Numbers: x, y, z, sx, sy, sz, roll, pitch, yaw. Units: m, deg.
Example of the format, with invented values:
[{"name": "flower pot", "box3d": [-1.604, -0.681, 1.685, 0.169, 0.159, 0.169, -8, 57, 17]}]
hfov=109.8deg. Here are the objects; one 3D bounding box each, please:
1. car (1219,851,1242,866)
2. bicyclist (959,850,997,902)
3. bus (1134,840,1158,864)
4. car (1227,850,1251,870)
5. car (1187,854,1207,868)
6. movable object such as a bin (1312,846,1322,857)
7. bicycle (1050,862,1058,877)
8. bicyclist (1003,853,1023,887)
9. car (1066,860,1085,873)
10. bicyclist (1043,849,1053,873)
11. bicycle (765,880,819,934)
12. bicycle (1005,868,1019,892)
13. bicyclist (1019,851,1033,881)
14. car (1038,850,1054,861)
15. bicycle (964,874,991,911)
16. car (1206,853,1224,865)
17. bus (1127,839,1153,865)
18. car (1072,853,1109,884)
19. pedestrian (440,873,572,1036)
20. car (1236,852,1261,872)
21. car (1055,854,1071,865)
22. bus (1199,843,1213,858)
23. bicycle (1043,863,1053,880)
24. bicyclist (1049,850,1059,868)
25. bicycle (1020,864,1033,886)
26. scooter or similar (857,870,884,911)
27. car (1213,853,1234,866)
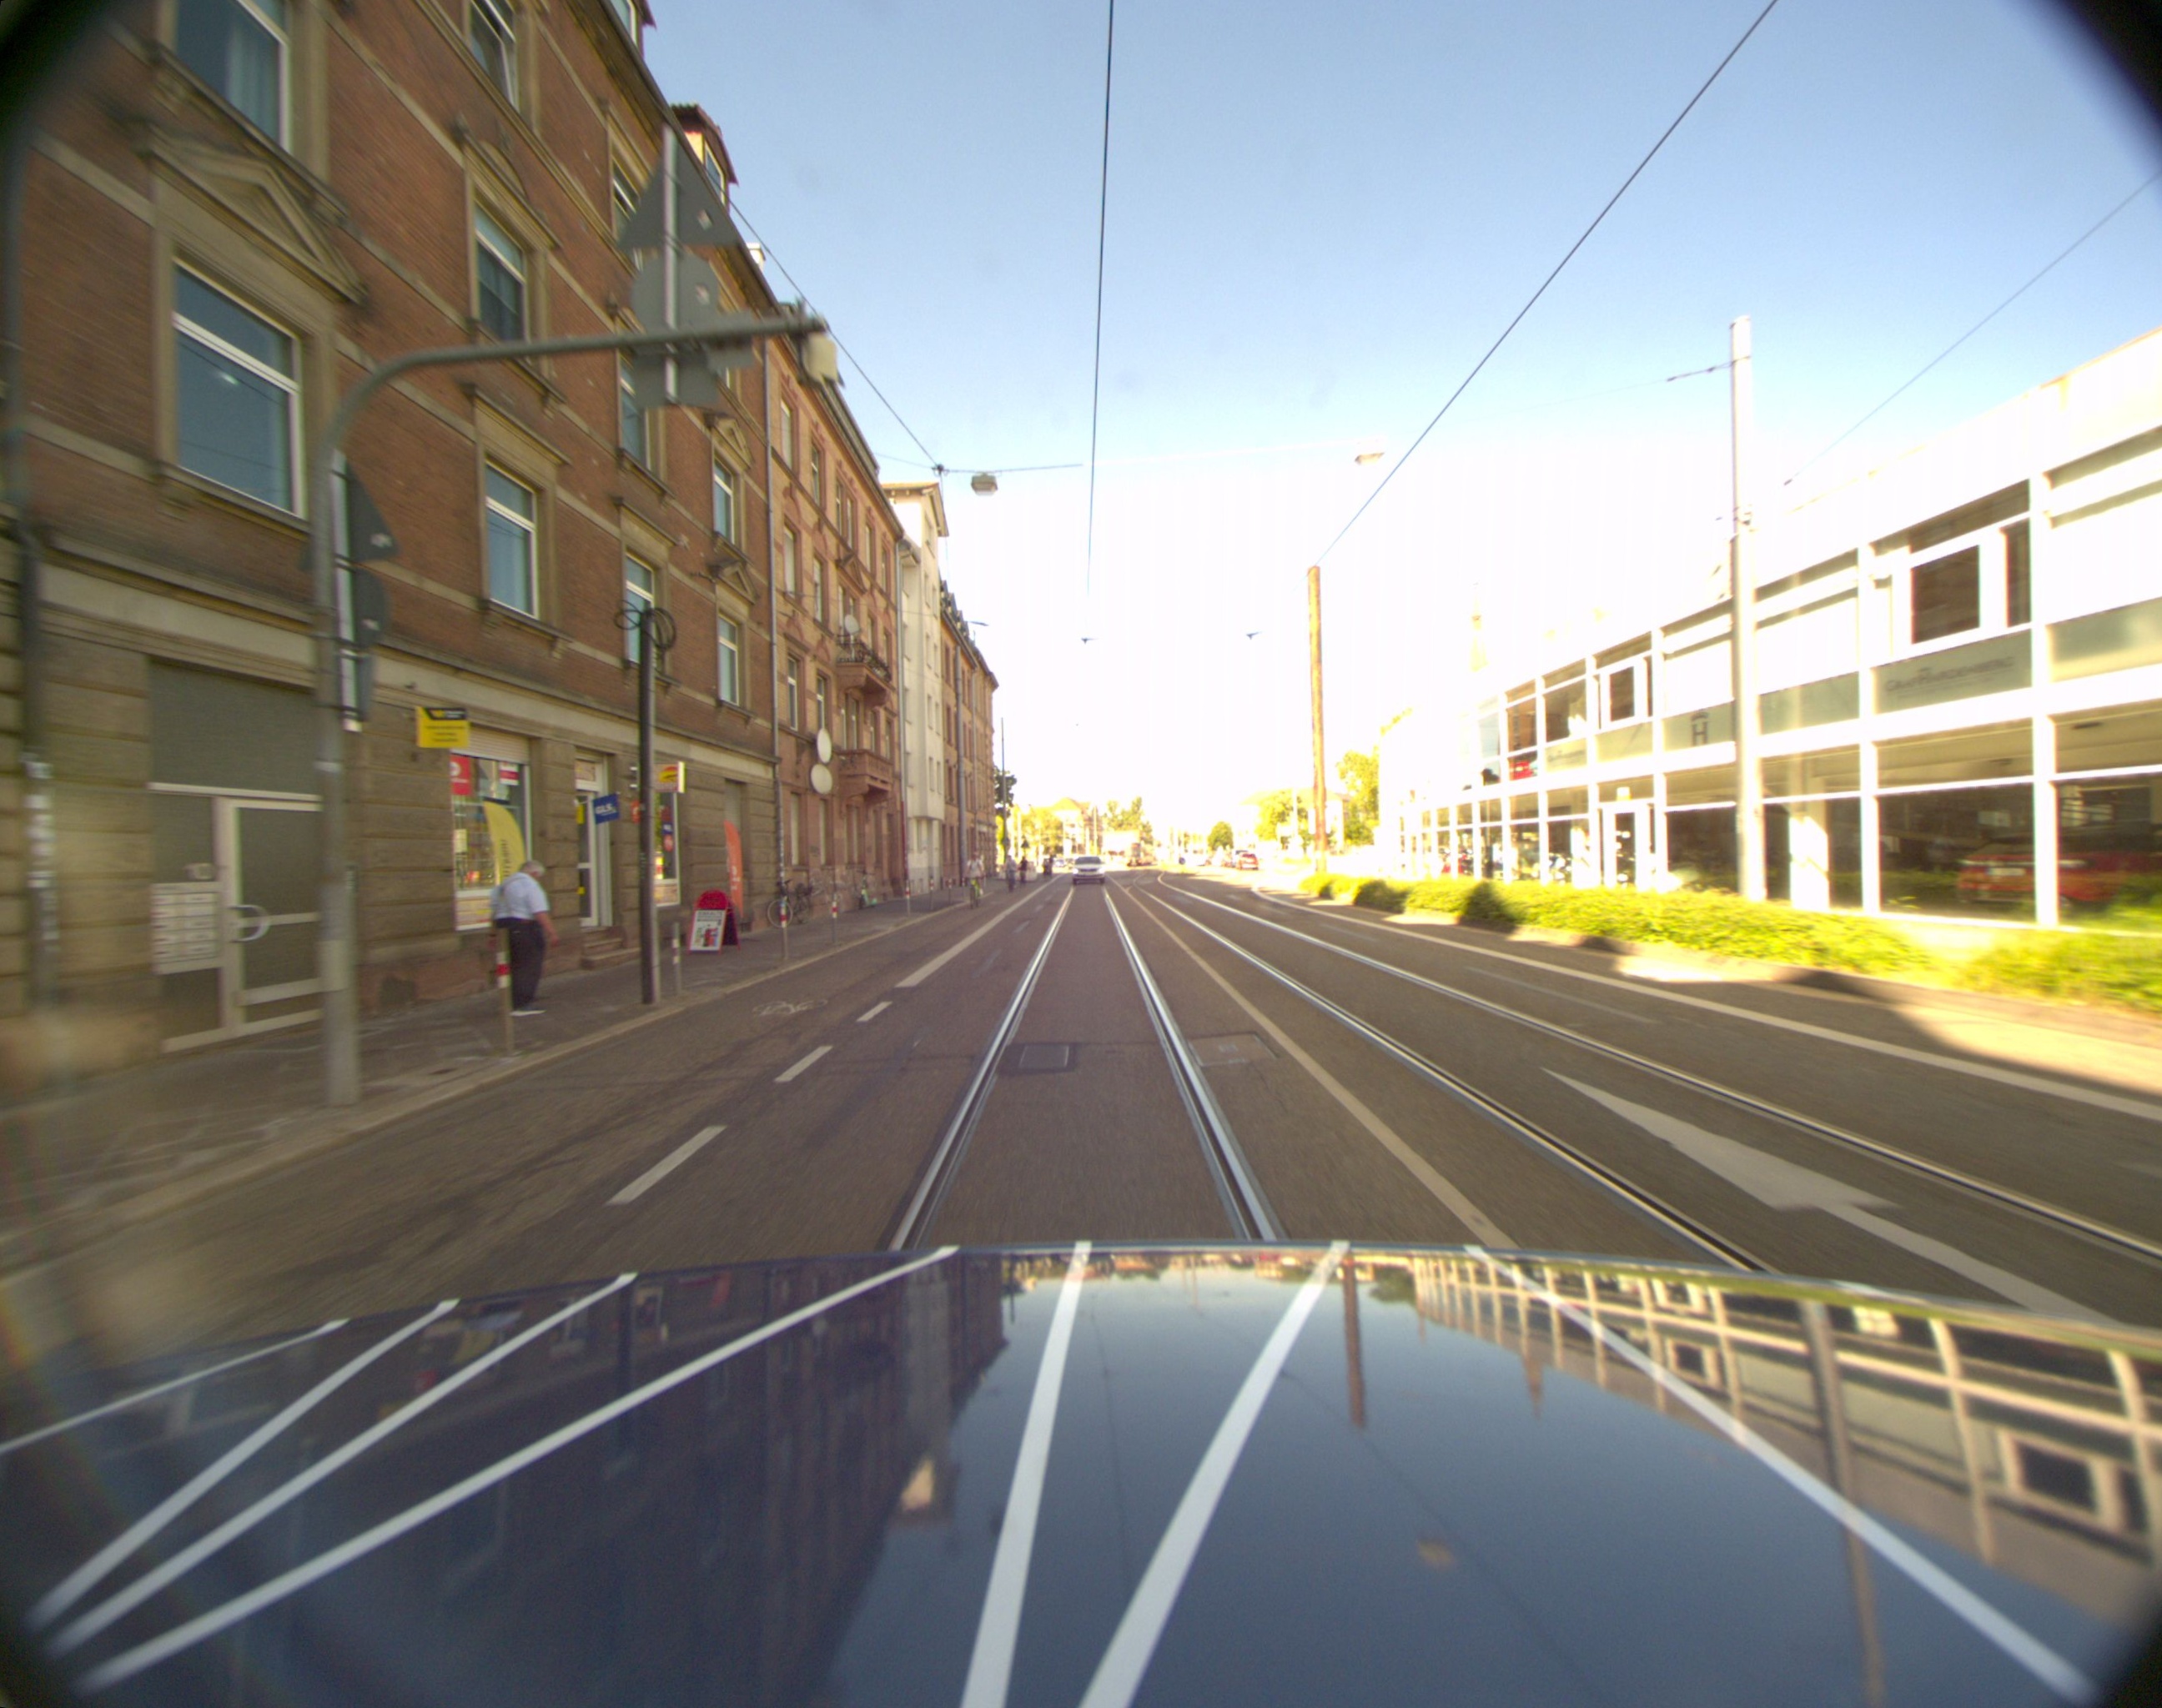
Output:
[{"name": "car", "box3d": [16.699, 0.433, 85.060, 1.807, 1.569, 4.165, -1, 1, 2]}, {"name": "bicyclist", "box3d": [-3.457, 0.718, 25.527, 0.681, 1.674, 1.121, -3, 1, 24]}, {"name": "bus", "box3d": [10.524, -0.400, 122.151, 2.846, 3.568, 10.733, -2, 0, 9]}, {"name": "car", "box3d": [16.254, 0.572, 78.184, 1.807, 1.922, 4.165, -1, 1, 3]}, {"name": "car", "box3d": [14.134, 0.832, 92.720, 1.807, 1.424, 4.540, -3, 1, 2]}, {"name": "movable object such as a bin", "box3d": [38.572, -0.419, 124.141, 0.993, 1.625, 0.935, -4, 1, -33]}, {"name": "bicycle", "box3d": [-2.126, 1.211, 60.571, 0.533, 1.152, 1.866, -2, -1, -1]}, {"name": "bicyclist", "box3d": [-3.294, 0.772, 36.847, 0.784, 1.584, 0.886, -2, 0, 3]}, {"name": "car", "box3d": [-0.744, 1.612, 99.495, 1.887, 1.557, 4.009, -3, 1, -8]}, {"name": "bicyclist", "box3d": [-2.285, 0.493, 52.468, 0.551, 1.604, 0.953, -3, 1, 0]}, {"name": "bicycle", "box3d": [-6.861, 1.234, 18.141, 0.410, 1.115, 1.898, 0, 1, 5]}, {"name": "bicycle", "box3d": [-3.320, 1.242, 36.857, 0.387, 1.063, 1.934, -2, 1, 3]}, {"name": "bicyclist", "box3d": [-3.032, 0.660, 42.050, 0.625, 1.604, 0.981, -3, 1, 1]}, {"name": "car", "box3d": [-9.030, 0.490, 194.949, 2.246, 2.665, 5.296, -4, 1, -23]}, {"name": "bicycle", "box3d": [-3.446, 1.259, 25.505, 0.533, 1.111, 1.934, -4, 0, 1]}, {"name": "car", "box3d": [17.127, 0.619, 97.187, 1.653, 1.470, 3.971, 0, 0, 2]}, {"name": "bus", "box3d": [8.716, -0.320, 111.286, 2.846, 3.568, 11.278, -2, 0, 9]}, {"name": "car", "box3d": [0.600, 0.810, 43.327, 1.868, 1.635, 4.398, -2, 0, 3]}, {"name": "pedestrian", "box3d": [-5.981, 1.019, 7.940, 0.800, 1.595, 0.652, -2, 1, 3]}, {"name": "car", "box3d": [15.611, 0.723, 70.999, 1.803, 1.709, 4.418, -1, 1, 6]}, {"name": "car", "box3d": [-2.757, 0.831, 115.024, 1.887, 1.557, 4.009, -3, 1, -9]}, {"name": "bus", "box3d": [30.924, -0.953, 187.523, 2.846, 3.104, 11.826, -3, 2, 12]}, {"name": "bicycle", "box3d": [-2.246, 1.177, 52.289, 0.533, 1.111, 1.934, -3, -1, 0]}, {"name": "bicyclist", "box3d": [-2.145, 0.378, 60.435, 0.675, 1.413, 1.036, -3, 1, 0]}, {"name": "bicycle", "box3d": [-3.006, 1.139, 42.055, 0.533, 1.111, 1.933, -2, 1, 0]}, {"name": "scooter or similar", "box3d": [-6.706, 1.142, 24.244, 0.407, 1.204, 1.480, 0, 1, 1]}, {"name": "car", "box3d": [17.165, 0.669, 91.745, 1.807, 1.424, 4.000, -3, 1, 2]}]
